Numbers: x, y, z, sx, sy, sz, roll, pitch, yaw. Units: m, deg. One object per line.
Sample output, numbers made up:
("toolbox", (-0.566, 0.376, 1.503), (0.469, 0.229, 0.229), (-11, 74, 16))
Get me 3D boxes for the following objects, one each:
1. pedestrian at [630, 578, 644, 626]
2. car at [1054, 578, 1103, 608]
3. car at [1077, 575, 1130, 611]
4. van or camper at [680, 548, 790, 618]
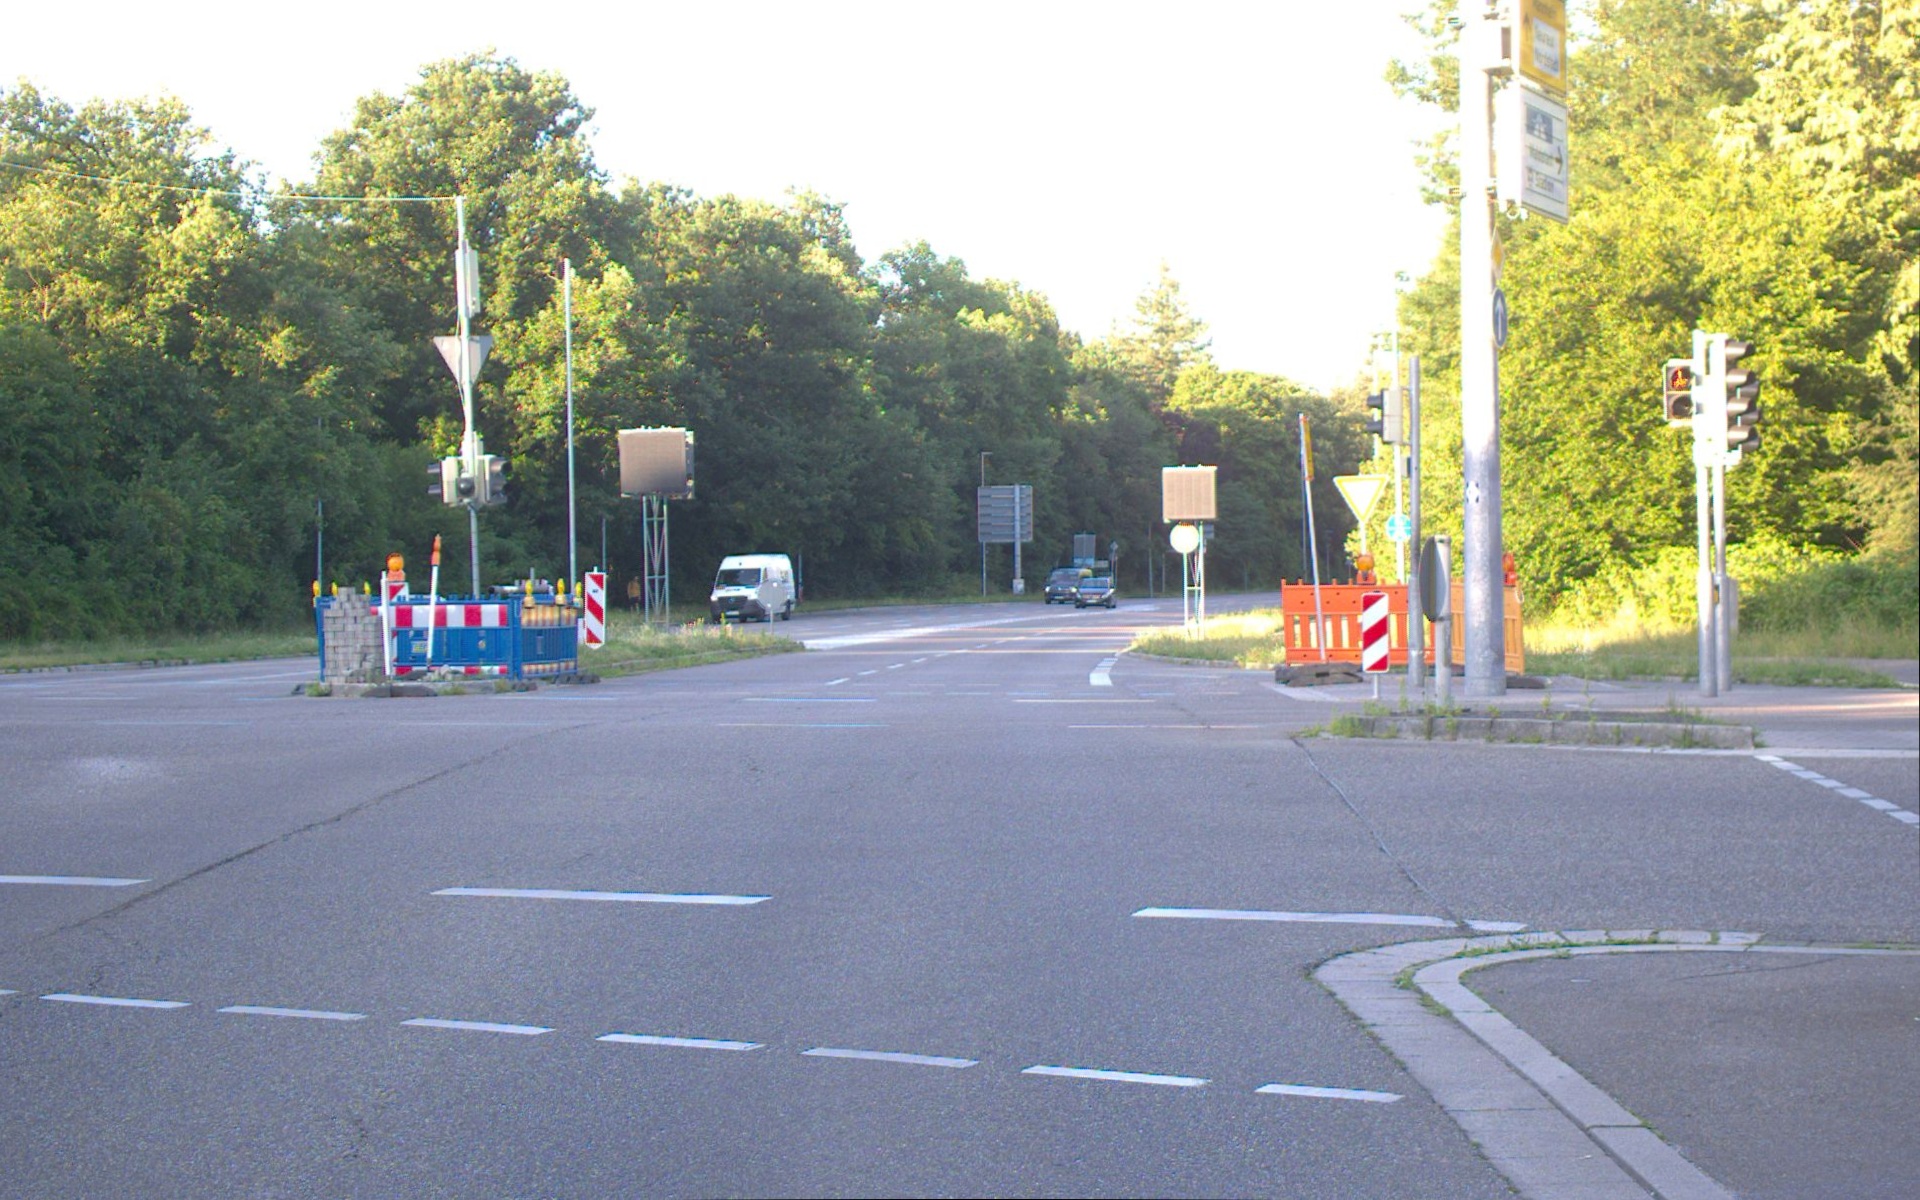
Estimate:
("pedestrian", (-13.540, 0.086, 144.175), (0.521, 2.007, 0.600), (1, 0, -1))
("car", (6.565, -0.394, 190.462), (1.994, 1.634, 3.998), (0, 1, 12))
("car", (7.187, -0.365, 172.093), (1.994, 1.634, 3.998), (-2, 2, 12))
("van or camper", (-8.717, -0.709, 134.140), (2.886, 2.643, 7.120), (0, 1, 8))
